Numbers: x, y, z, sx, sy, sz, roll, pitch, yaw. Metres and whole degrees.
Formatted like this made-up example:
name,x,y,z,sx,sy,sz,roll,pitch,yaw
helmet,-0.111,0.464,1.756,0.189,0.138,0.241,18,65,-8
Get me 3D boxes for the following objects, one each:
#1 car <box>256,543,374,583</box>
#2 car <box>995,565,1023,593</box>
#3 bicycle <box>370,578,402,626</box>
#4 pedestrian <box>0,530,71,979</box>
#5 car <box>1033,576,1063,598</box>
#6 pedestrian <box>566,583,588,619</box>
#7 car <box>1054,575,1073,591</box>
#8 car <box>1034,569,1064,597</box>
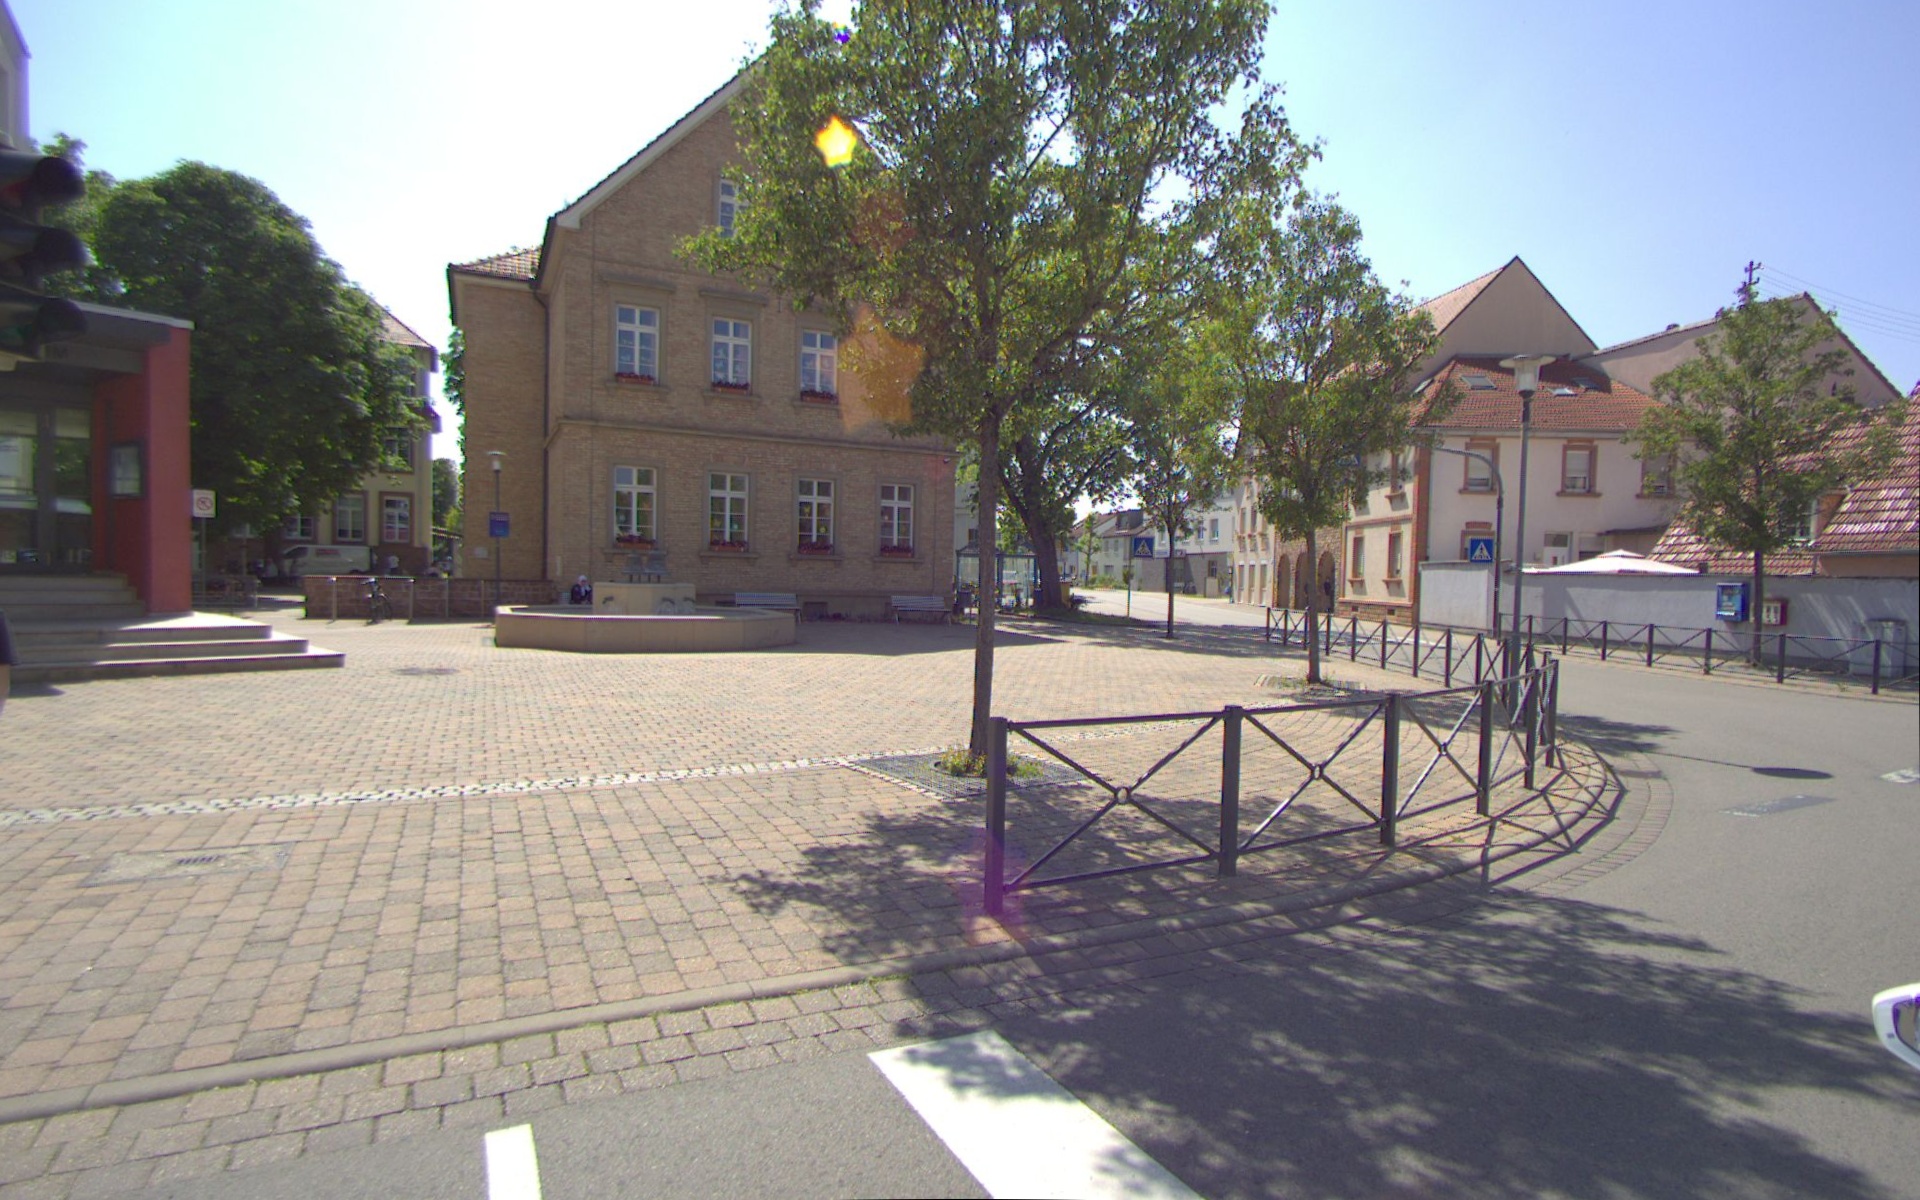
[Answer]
name,x,y,z,sx,sy,sz,roll,pitch,yaw
car,-34.197,-1.926,53.449,5.219,1.963,1.982,1,1,-32
car,3.401,-1.461,70.624,1.747,1.818,3.999,1,1,0
bicycle,-13.822,0.038,24.210,0.573,1.019,1.939,1,4,-27
pedestrian,-3.762,0.557,3.651,0.546,1.640,0.550,2,1,8
car,7.101,-1.075,81.492,1.748,1.668,3.997,1,1,-4
pedestrian,-9.112,0.018,23.905,0.365,0.828,0.357,0,2,-43
car,12.160,-1.963,118.545,1.747,1.804,3.999,1,1,0
car,6.221,-1.211,70.468,1.746,1.818,4.000,2,1,1
